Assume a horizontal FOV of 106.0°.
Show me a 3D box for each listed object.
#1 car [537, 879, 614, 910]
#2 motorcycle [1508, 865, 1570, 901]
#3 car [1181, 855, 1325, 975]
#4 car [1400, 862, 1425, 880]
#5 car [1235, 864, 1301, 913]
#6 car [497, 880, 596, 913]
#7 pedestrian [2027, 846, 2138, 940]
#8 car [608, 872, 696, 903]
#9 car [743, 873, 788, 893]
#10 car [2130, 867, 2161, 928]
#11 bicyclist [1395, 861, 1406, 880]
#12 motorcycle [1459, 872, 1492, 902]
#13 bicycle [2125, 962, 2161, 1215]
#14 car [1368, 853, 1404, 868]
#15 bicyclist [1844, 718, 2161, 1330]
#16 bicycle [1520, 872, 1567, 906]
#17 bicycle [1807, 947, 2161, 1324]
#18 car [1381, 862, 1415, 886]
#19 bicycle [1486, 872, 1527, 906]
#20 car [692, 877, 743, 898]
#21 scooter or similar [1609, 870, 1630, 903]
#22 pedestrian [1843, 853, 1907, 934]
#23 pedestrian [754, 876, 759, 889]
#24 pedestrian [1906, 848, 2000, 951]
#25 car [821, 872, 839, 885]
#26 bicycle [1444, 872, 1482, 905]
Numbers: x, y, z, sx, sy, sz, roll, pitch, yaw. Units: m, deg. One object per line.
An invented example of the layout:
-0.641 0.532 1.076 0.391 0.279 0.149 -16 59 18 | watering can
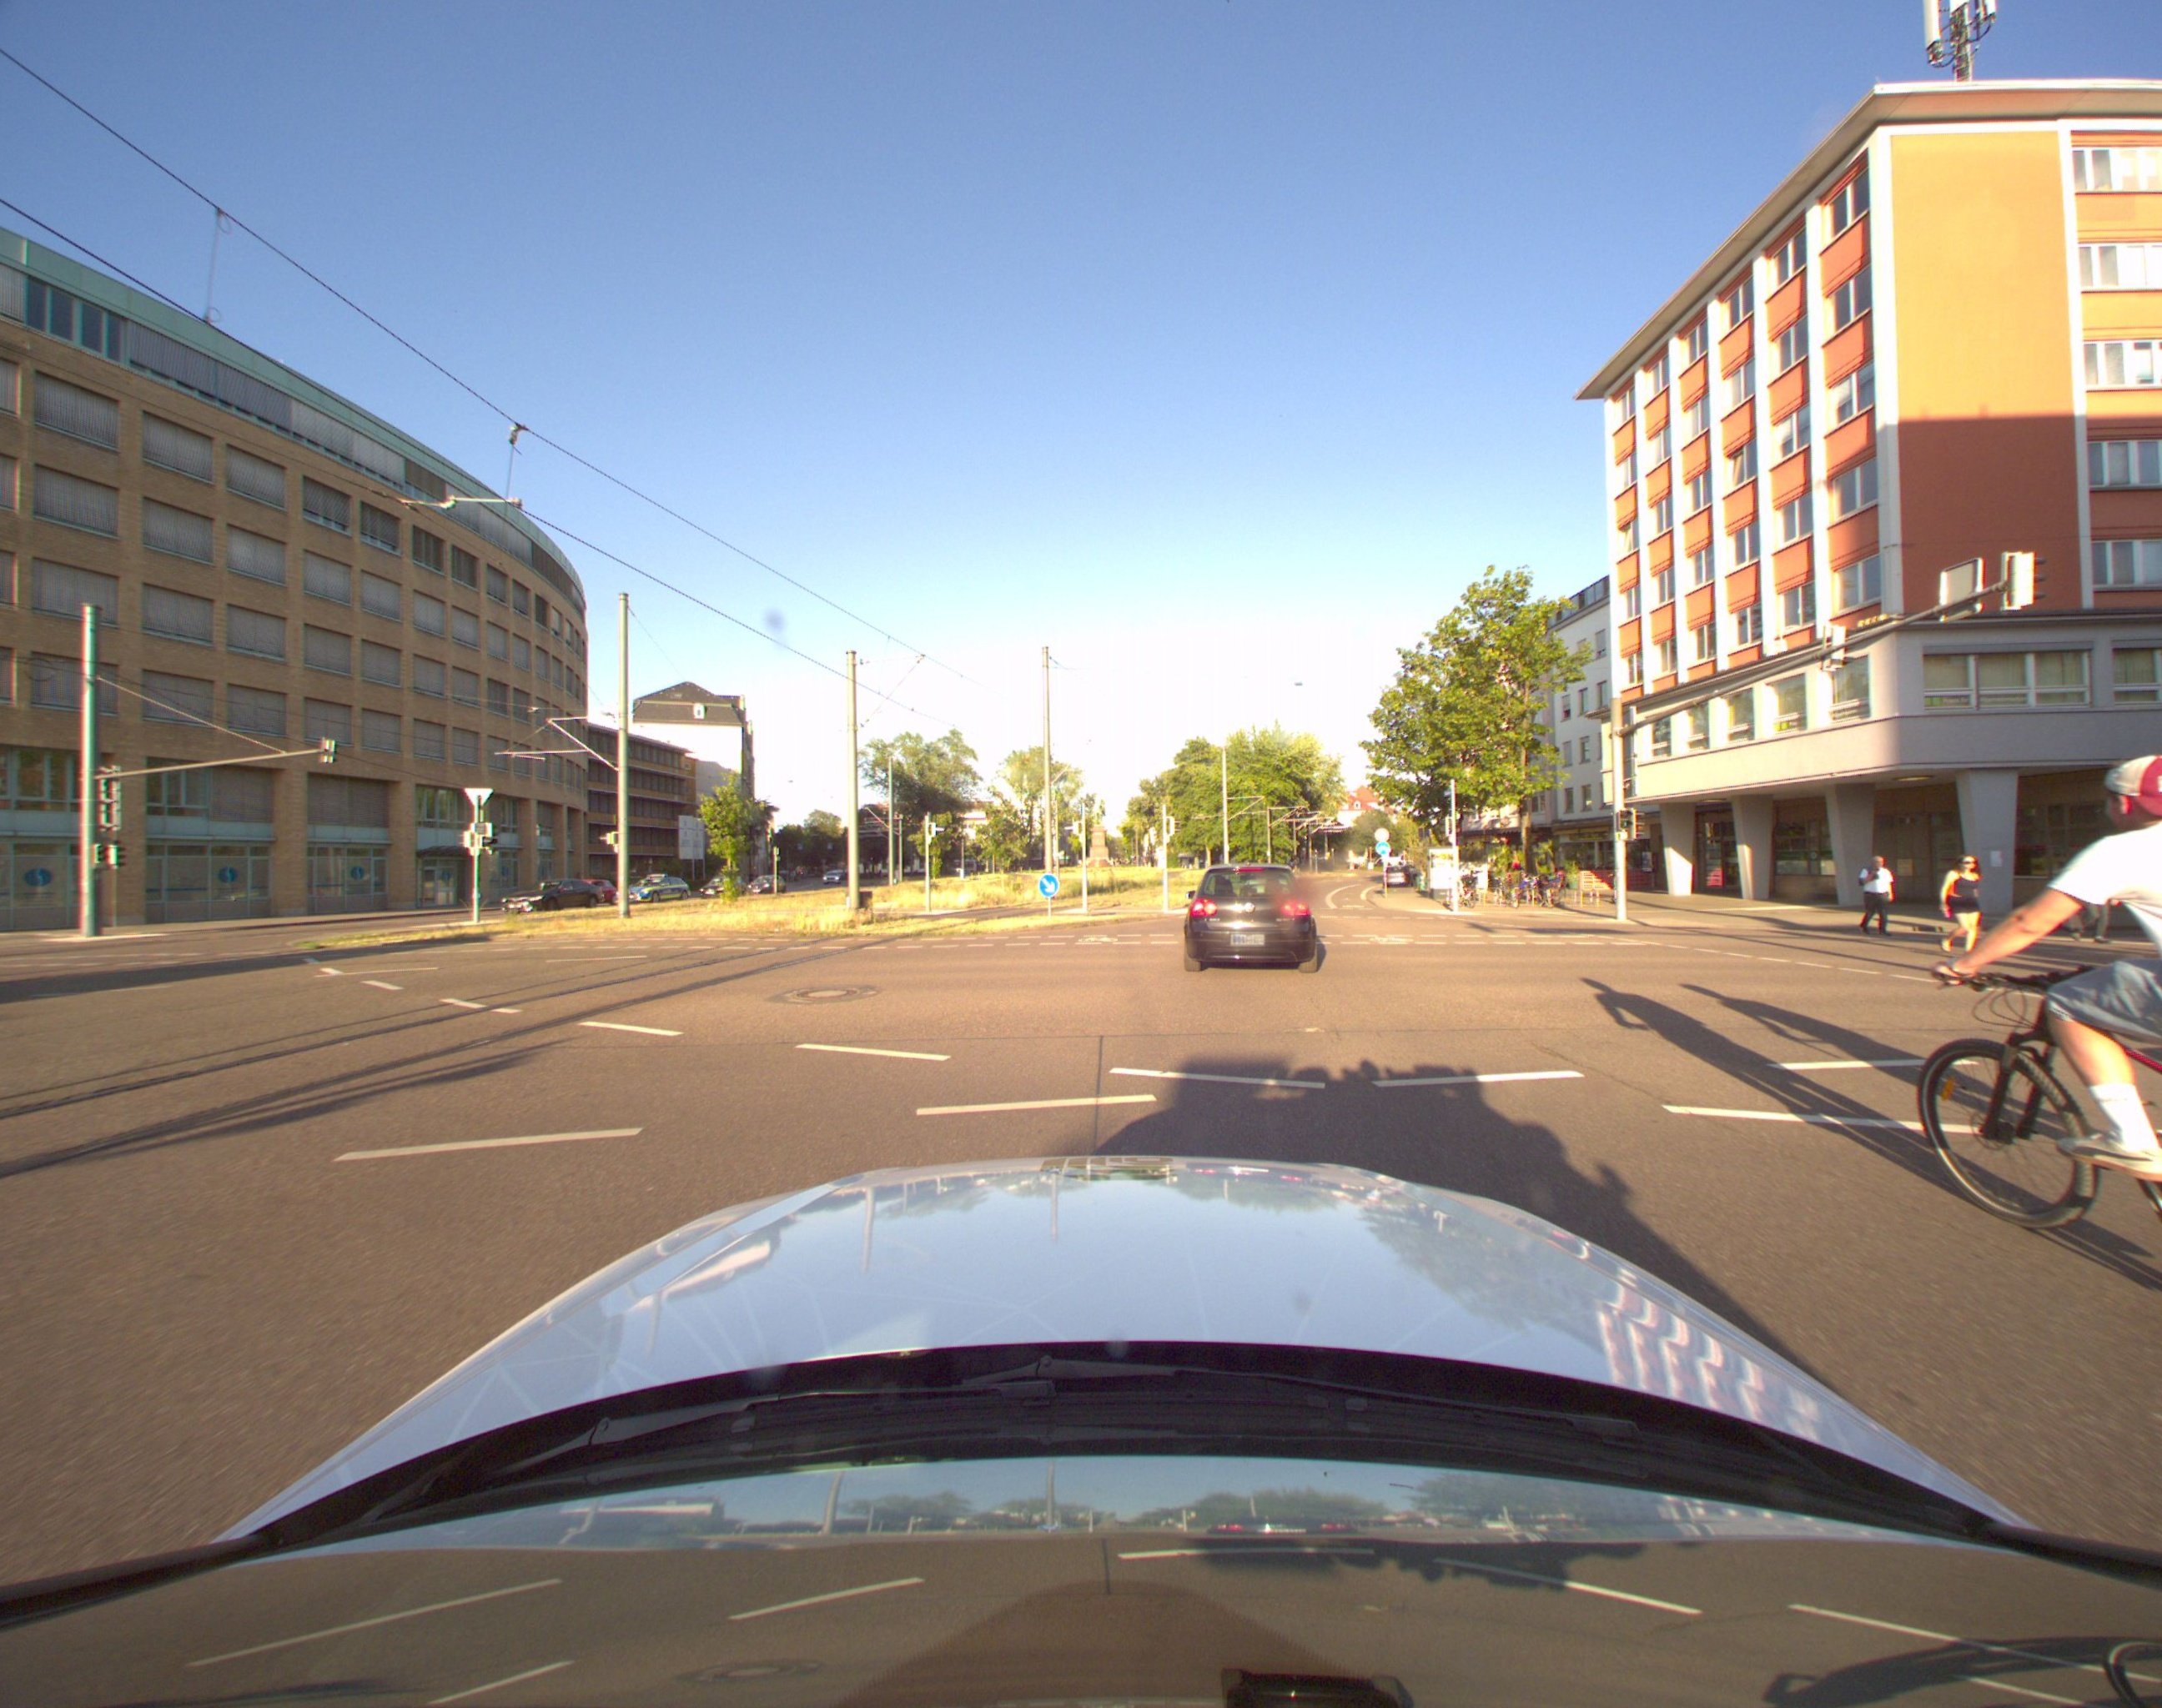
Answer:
-26.815 2.126 43.349 1.720 1.415 3.883 -1 0 -2 | car
18.594 1.162 33.080 2.031 1.406 0.763 -1 -1 10 | motorcycle
2.594 0.771 12.133 1.735 1.461 4.118 -1 -1 13 | car
31.238 1.558 76.756 1.765 1.557 4.259 -4 -2 27 | car
6.291 1.097 27.090 1.851 1.441 4.214 -1 -1 16 | car
-23.456 1.832 35.881 1.718 1.282 3.791 -1 -1 3 | car
18.796 0.715 15.315 0.779 1.701 1.028 -1 -1 4 | pedestrian
-23.002 1.779 43.903 1.879 1.480 4.788 -1 -1 5 | car
-22.611 2.038 58.529 1.639 1.281 3.742 -1 0 3 | car
26.241 0.933 17.552 4.640 1.341 1.842 -1 -1 4 | car
26.332 1.350 67.173 0.770 1.618 1.031 0 -1 26 | bicyclist
16.974 1.398 35.126 0.662 1.242 2.206 -1 -1 9 | motorcycle
4.622 0.962 2.506 0.572 1.028 1.860 -1 -1 7 | bicycle
54.070 1.165 144.376 5.494 2.595 2.154 0 -1 0 | car
3.625 0.499 2.904 0.822 1.807 1.059 -1 -1 6 | bicyclist
17.007 1.270 30.007 0.642 1.158 2.127 -1 0 4 | bicycle
3.668 0.958 2.961 0.475 1.028 1.985 -1 -1 7 | bicycle
20.789 1.292 53.332 1.712 1.472 3.921 -4 -2 25 | car
15.699 1.275 30.071 0.642 1.127 1.876 -1 0 4 | bicycle
-23.022 2.109 51.690 1.514 1.153 3.599 -1 0 1 | car
20.768 1.241 31.424 0.411 1.254 1.189 -1 -1 22 | scooter or similar
17.208 0.842 17.664 0.566 1.701 0.813 -1 -1 4 | pedestrian
-35.784 3.135 89.826 0.412 1.430 0.485 -1 -1 2 | pedestrian
13.813 0.703 12.925 0.678 1.589 0.748 -1 -1 7 | pedestrian
-31.492 3.020 102.125 1.772 1.482 4.291 -1 -1 -12 | car
14.081 1.265 30.093 0.642 1.127 1.876 -1 0 4 | bicycle
